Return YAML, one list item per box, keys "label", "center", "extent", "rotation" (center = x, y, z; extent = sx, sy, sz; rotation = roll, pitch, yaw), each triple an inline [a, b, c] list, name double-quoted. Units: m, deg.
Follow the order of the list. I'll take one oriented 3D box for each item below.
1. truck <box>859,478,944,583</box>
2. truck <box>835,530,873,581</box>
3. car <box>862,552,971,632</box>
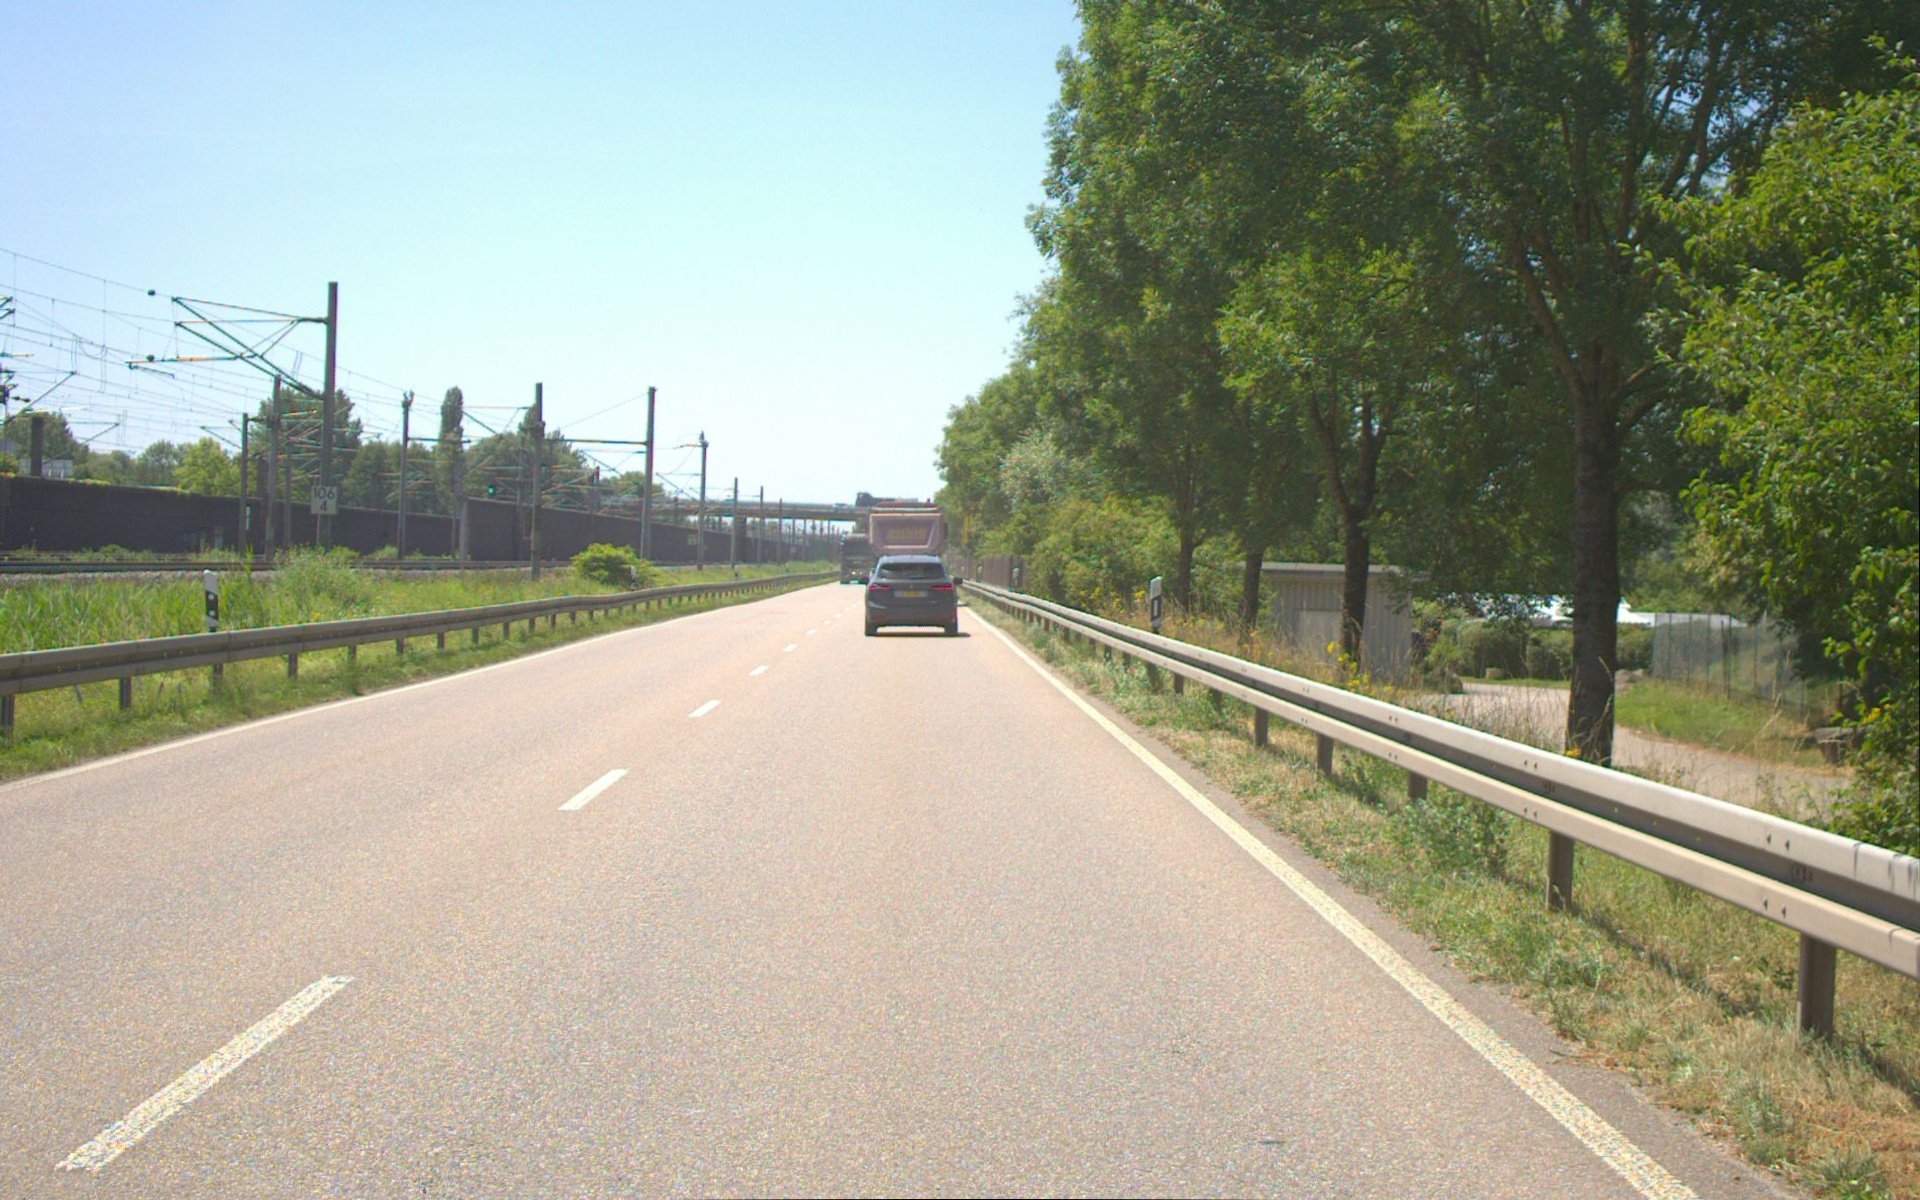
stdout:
- label: "truck"
  center: [-2.009, -2.357, 119.201]
  extent: [2.770, 3.414, 10.820]
  rotation: [1, 1, -1]
- label: "truck"
  center: [-7.782, -3.250, 251.399]
  extent: [2.658, 3.614, 10.979]
  rotation: [1, 1, -2]
- label: "car"
  center: [-0.895, -0.183, 67.671]
  extent: [1.993, 1.503, 4.001]
  rotation: [0, 1, -3]
